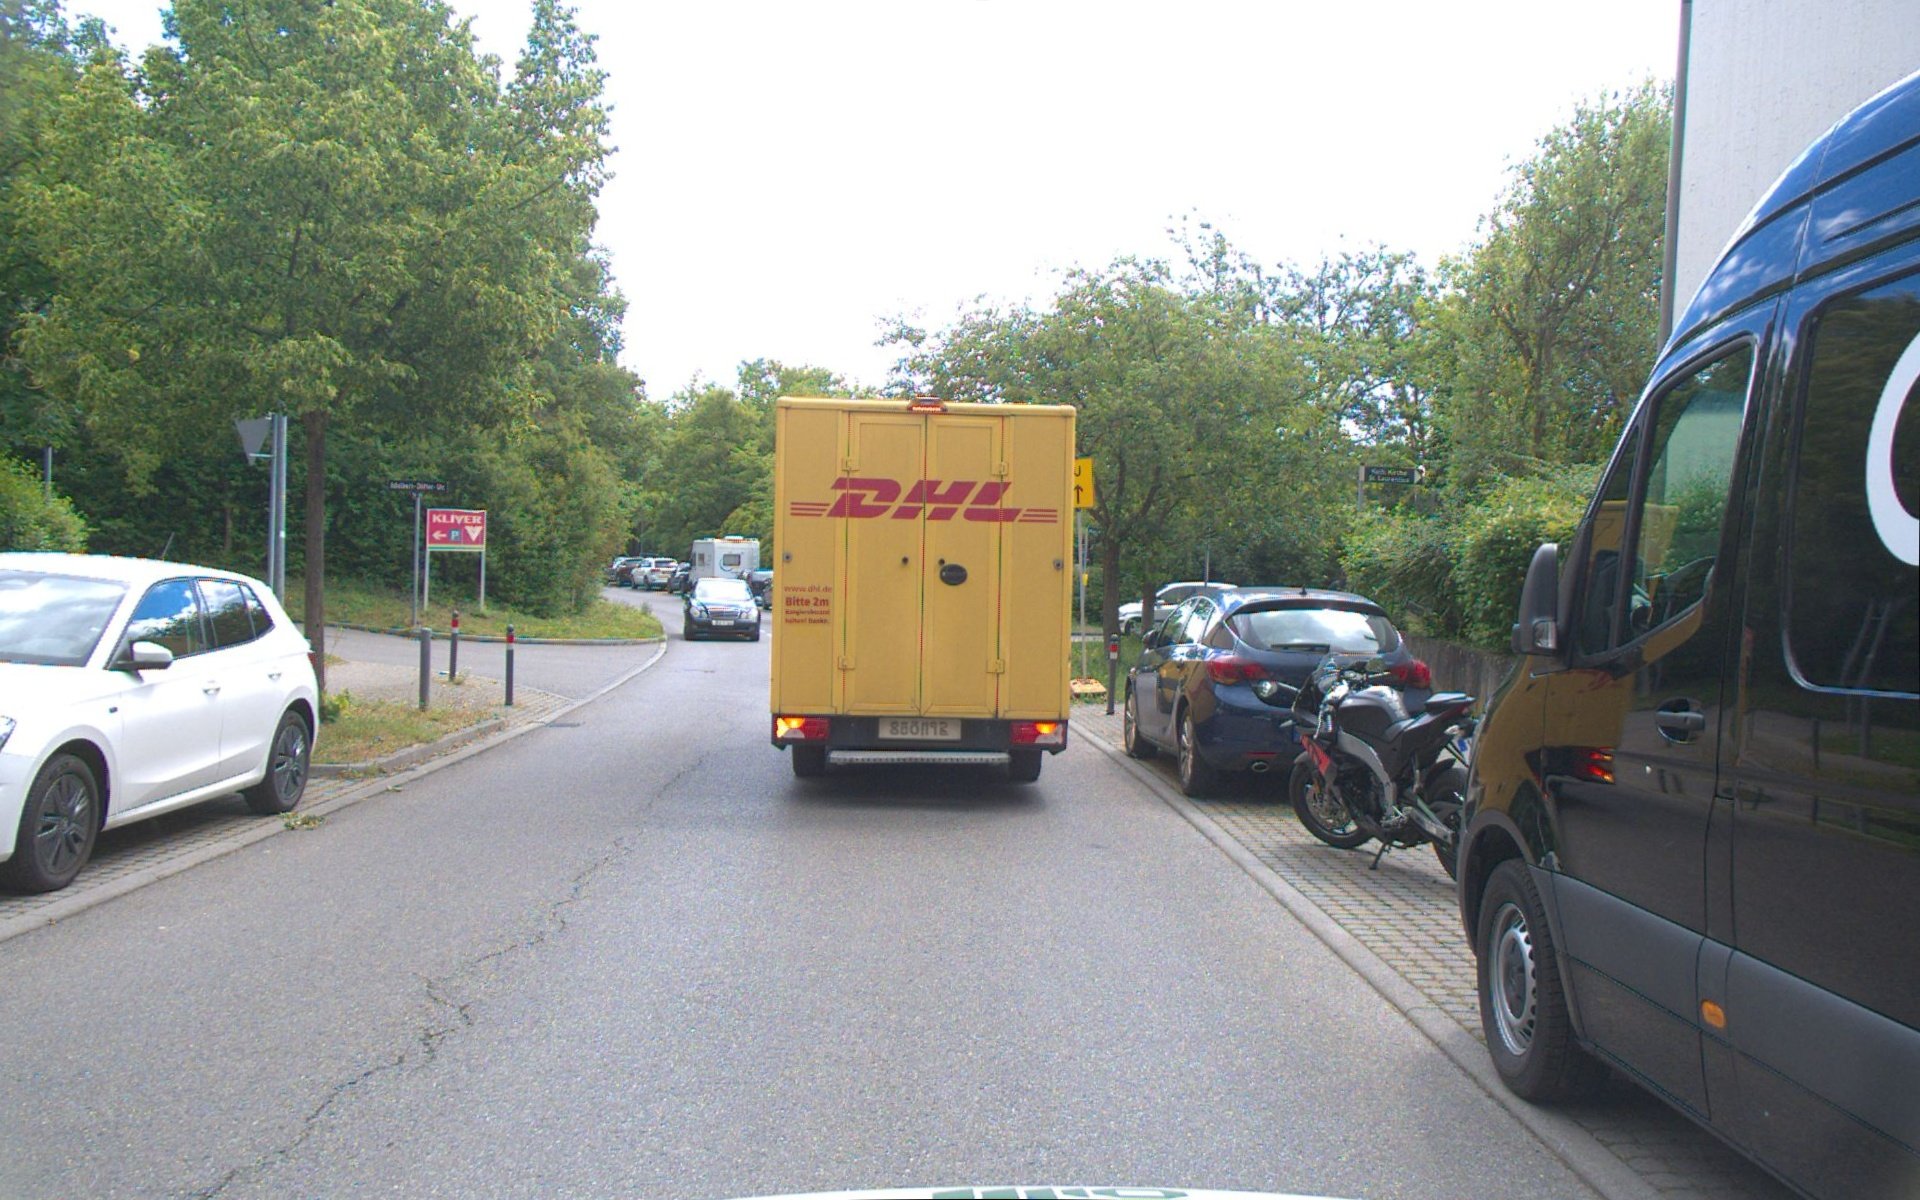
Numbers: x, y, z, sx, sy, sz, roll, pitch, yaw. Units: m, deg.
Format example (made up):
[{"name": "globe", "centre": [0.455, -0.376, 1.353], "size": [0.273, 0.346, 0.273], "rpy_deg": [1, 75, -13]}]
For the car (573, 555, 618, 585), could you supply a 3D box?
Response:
[{"name": "car", "centre": [-22.386, -1.846, 101.495], "size": [1.821, 1.641, 3.968], "rpy_deg": [2, 2, -26]}]

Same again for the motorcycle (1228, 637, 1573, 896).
[{"name": "motorcycle", "centre": [2.279, 0.822, 8.911], "size": [0.883, 1.131, 2.078], "rpy_deg": [2, 1, -14]}]

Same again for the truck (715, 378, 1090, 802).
[{"name": "truck", "centre": [-0.561, -0.099, 14.378], "size": [2.417, 2.749, 6.820], "rpy_deg": [2, 1, -3]}]

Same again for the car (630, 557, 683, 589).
[{"name": "car", "centre": [-16.586, -1.485, 90.317], "size": [1.821, 1.556, 3.968], "rpy_deg": [2, 2, -26]}]

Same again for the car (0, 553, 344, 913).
[{"name": "car", "centre": [-4.770, 0.504, 8.595], "size": [1.640, 1.461, 3.969], "rpy_deg": [2, 1, -1]}]

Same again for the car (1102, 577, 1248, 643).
[{"name": "car", "centre": [5.657, 0.250, 43.812], "size": [3.557, 1.511, 1.691], "rpy_deg": [3, 2, -1]}]

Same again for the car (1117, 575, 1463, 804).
[{"name": "car", "centre": [2.391, 0.602, 12.996], "size": [1.694, 1.458, 3.966], "rpy_deg": [2, 0, -3]}]

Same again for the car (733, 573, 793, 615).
[{"name": "car", "centre": [-8.533, -0.283, 71.498], "size": [1.815, 1.556, 3.981], "rpy_deg": [2, 2, -18]}]

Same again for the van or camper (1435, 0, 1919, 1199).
[{"name": "van or camper", "centre": [2.597, 0.112, 2.758], "size": [1.953, 2.567, 5.470], "rpy_deg": [0, 0, -1]}]

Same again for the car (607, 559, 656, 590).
[{"name": "car", "centre": [-19.058, -1.493, 95.924], "size": [1.821, 1.641, 3.968], "rpy_deg": [2, 2, -26]}]

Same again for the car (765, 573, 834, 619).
[{"name": "car", "centre": [-6.248, -0.184, 64.141], "size": [1.815, 1.556, 3.981], "rpy_deg": [2, 2, -18]}]

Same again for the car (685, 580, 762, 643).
[{"name": "car", "centre": [-5.725, 0.249, 40.397], "size": [1.642, 1.378, 3.964], "rpy_deg": [2, 1, -6]}]

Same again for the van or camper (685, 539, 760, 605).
[{"name": "van or camper", "centre": [-11.259, -1.369, 78.234], "size": [2.291, 2.921, 5.228], "rpy_deg": [2, 1, -21]}]
